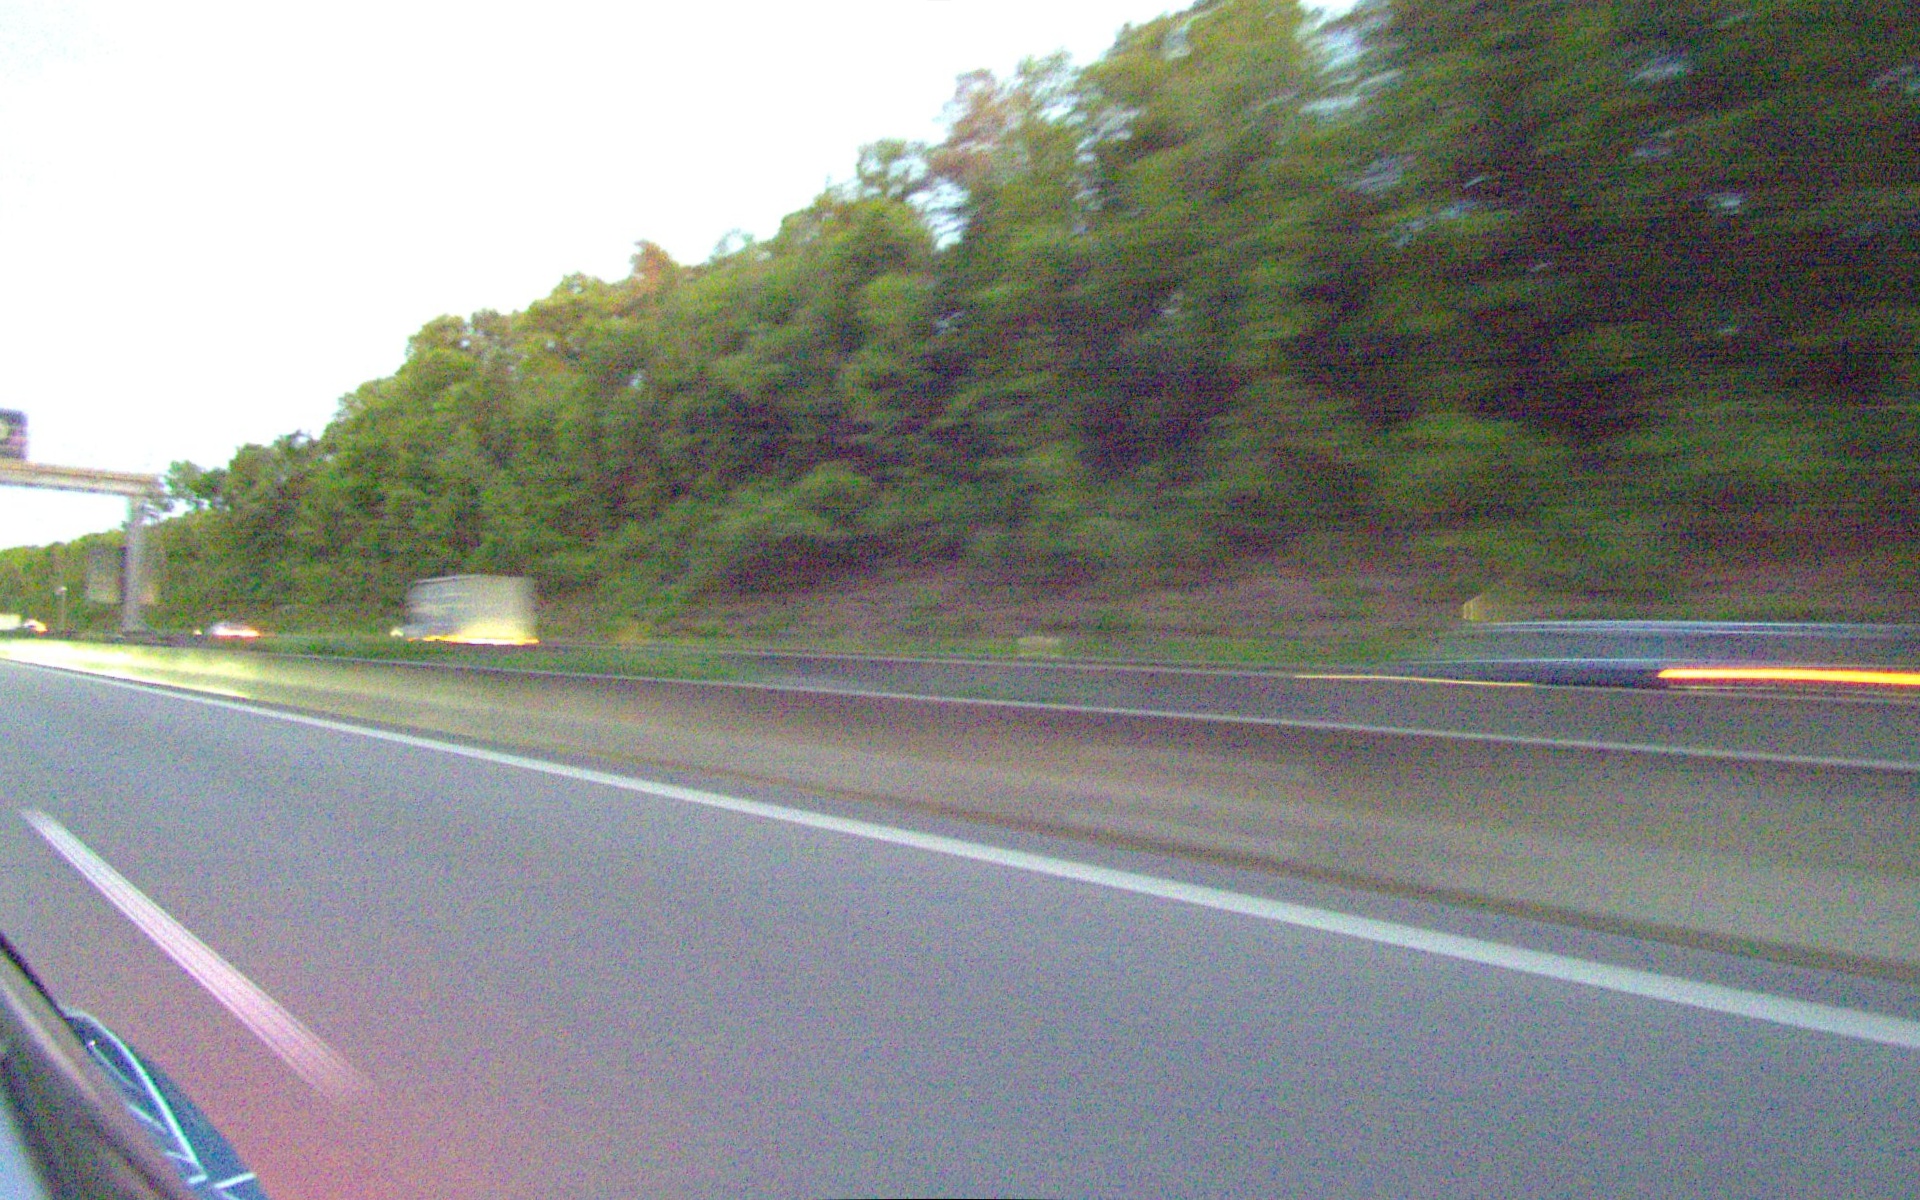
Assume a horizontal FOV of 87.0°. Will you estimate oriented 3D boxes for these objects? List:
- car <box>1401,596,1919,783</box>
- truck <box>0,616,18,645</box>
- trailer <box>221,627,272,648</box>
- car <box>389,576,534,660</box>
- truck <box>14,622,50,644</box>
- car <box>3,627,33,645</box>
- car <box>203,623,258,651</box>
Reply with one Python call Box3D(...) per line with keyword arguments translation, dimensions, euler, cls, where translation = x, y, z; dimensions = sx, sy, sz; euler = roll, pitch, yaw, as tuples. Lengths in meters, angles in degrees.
Box3D(translation=(8.023, 0.898, 11.756), dimensions=(5.003, 1.779, 1.897), euler=(-1, -2, 39), cls="car")
Box3D(translation=(-139.567, 4.404, 146.290), dimensions=(14.486, 4.034, 3.322), euler=(-2, -2, 41), cls="truck")
Box3D(translation=(-45.149, 2.336, 64.053), dimensions=(3.121, 1.258, 1.973), euler=(-2, -1, 41), cls="trailer")
Box3D(translation=(-21.463, 0.790, 43.326), dimensions=(8.225, 3.309, 2.586), euler=(-1, -2, 41), cls="car")
Box3D(translation=(-112.518, 3.962, 122.669), dimensions=(9.754, 2.529, 2.434), euler=(-2, -1, 43), cls="truck")
Box3D(translation=(-93.432, 3.549, 100.353), dimensions=(4.712, 1.728, 1.718), euler=(-2, -1, 41), cls="car")
Box3D(translation=(-48.033, 2.431, 66.595), dimensions=(4.571, 1.749, 1.973), euler=(-2, -1, 41), cls="car")
